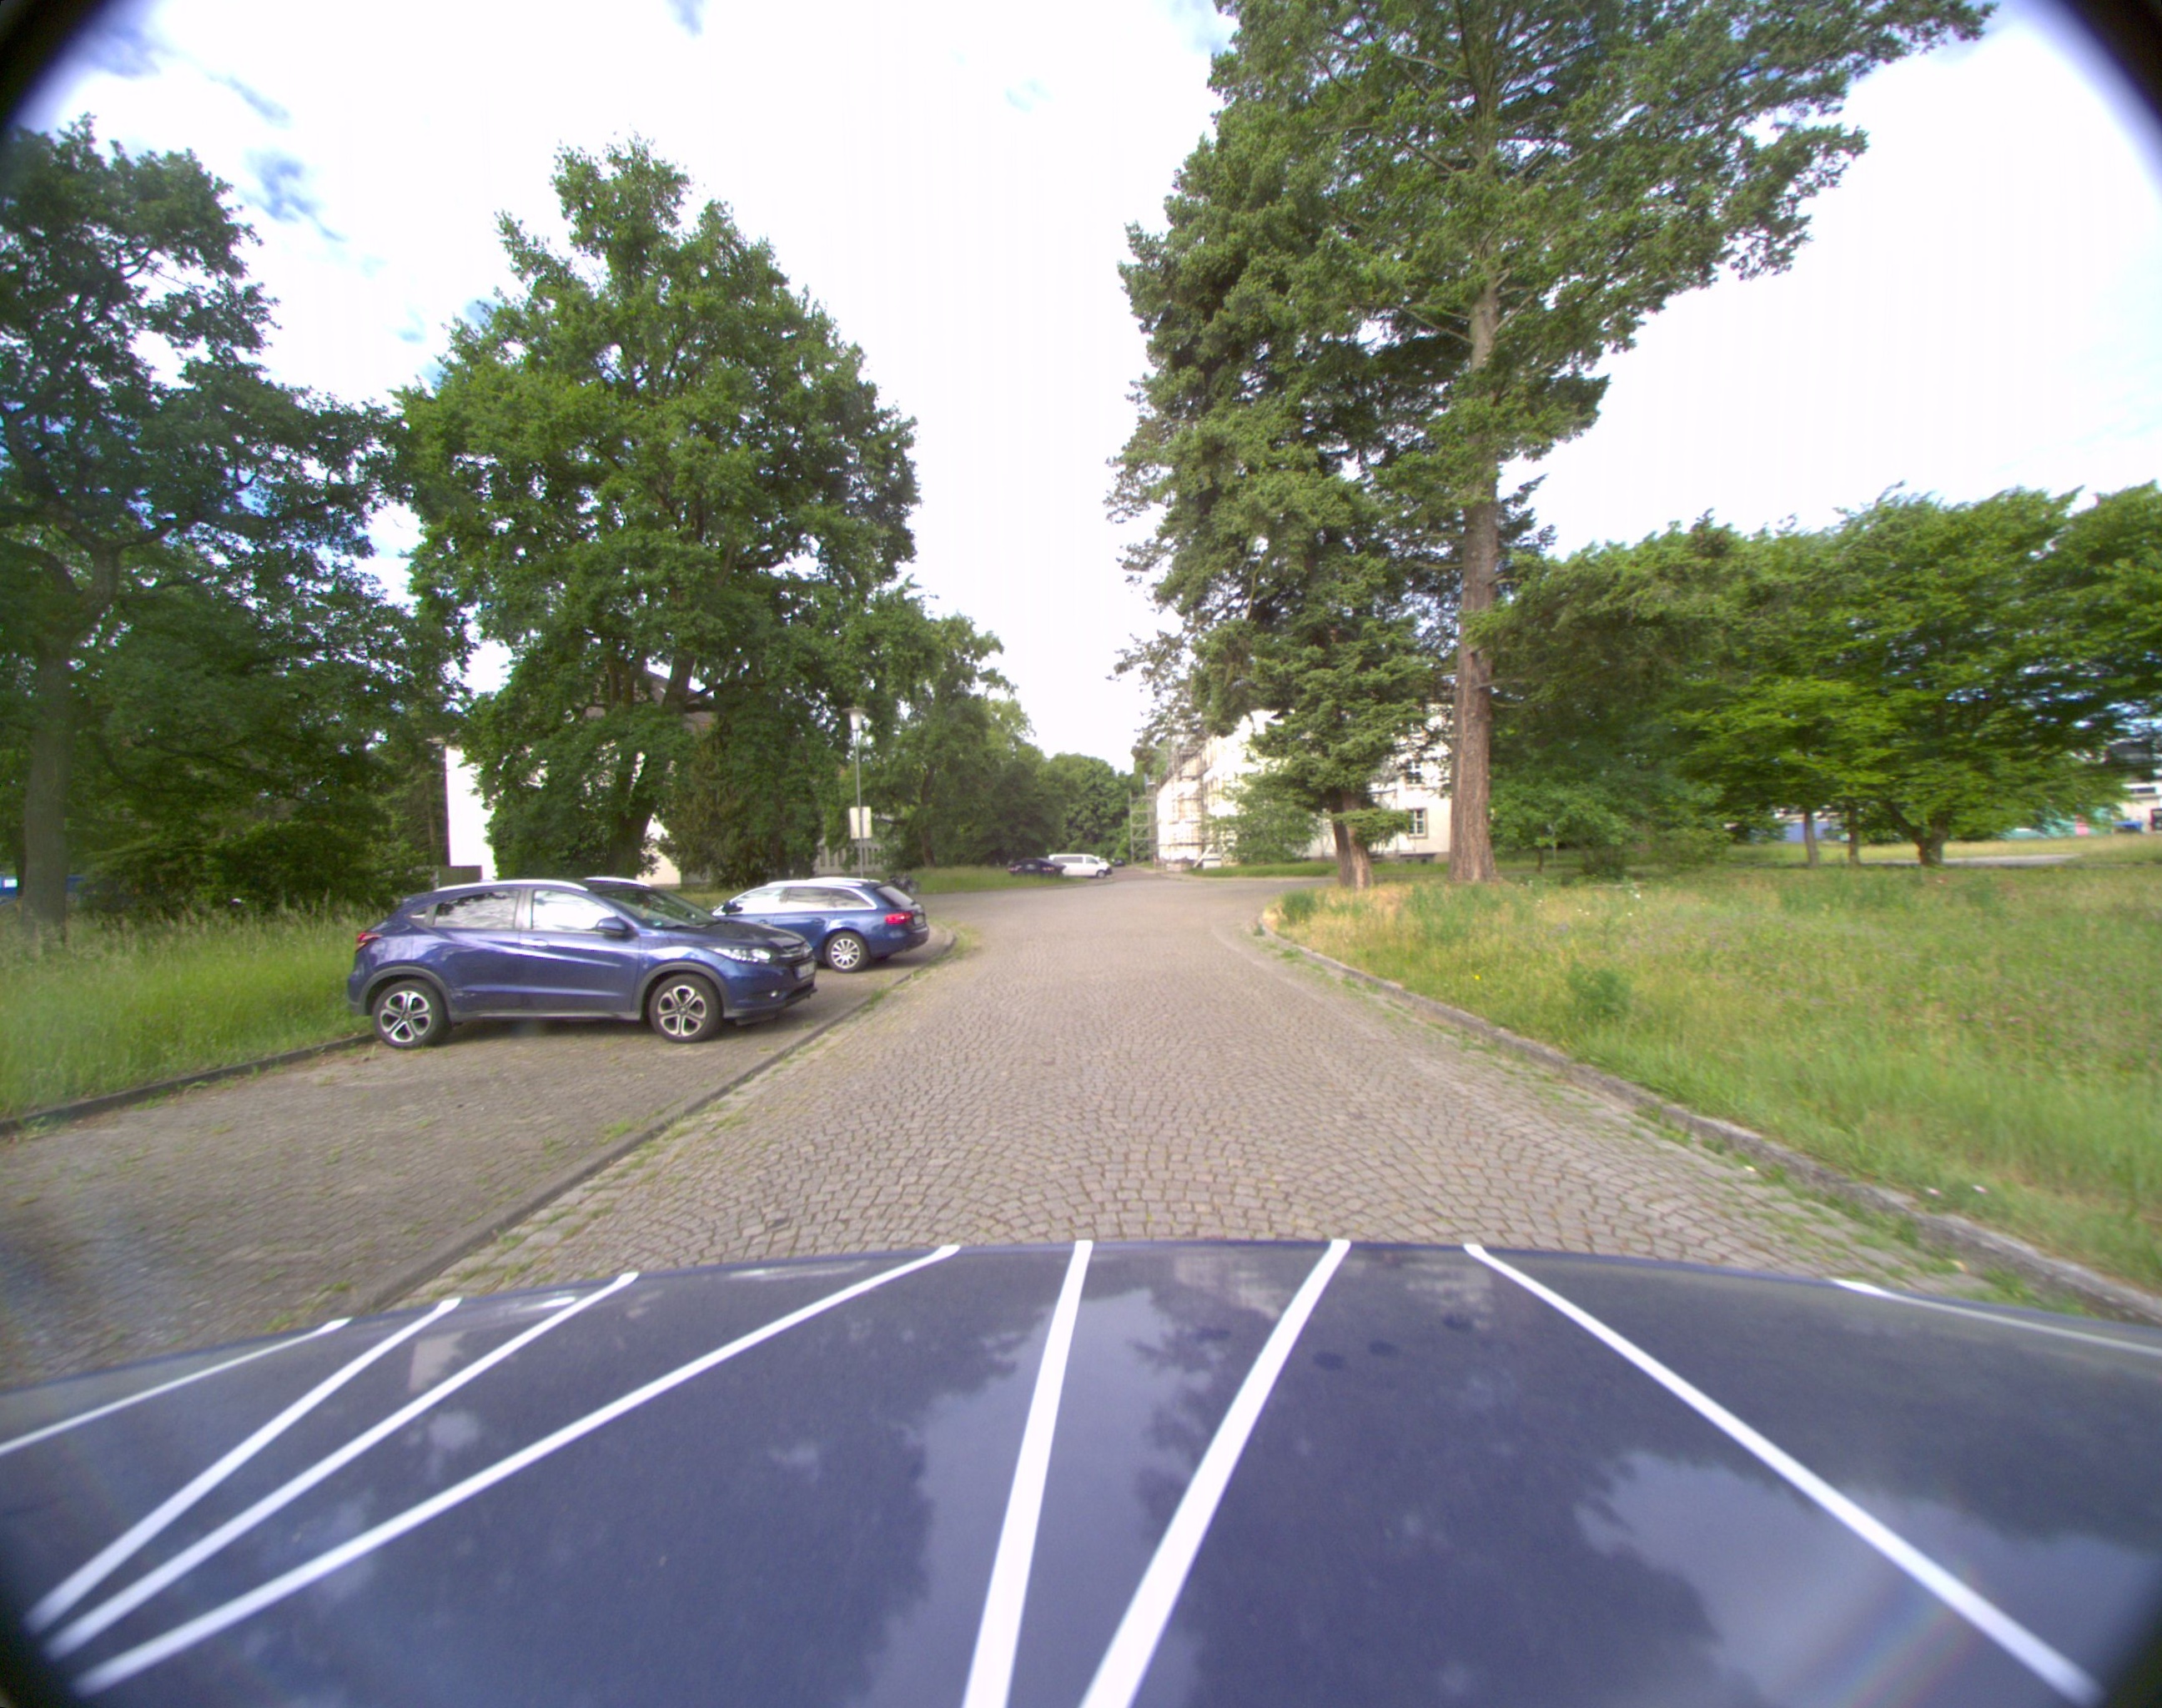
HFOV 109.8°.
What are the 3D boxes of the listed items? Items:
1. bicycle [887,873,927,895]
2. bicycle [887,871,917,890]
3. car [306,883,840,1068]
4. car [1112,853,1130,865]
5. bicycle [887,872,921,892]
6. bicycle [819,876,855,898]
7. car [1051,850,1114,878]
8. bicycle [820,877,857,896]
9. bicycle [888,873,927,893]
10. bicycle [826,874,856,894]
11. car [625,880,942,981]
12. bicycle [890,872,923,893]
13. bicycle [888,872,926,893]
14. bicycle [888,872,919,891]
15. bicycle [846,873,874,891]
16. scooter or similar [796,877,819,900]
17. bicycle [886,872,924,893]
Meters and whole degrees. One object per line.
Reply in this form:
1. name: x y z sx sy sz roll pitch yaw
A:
1. bicycle: -9.433 1.633 41.217 2.019 1.082 0.478 -2 3 -21
2. bicycle: -11.198 1.675 47.514 1.753 1.082 0.552 -2 3 -21
3. car: -4.978 1.159 7.933 4.273 1.564 1.895 -1 0 1
4. car: 6.673 0.807 127.584 2.028 1.915 3.997 -2 0 -10
5. bicycle: -10.474 1.656 44.932 1.868 1.082 0.519 -2 3 -21
6. bicycle: -13.358 1.804 41.564 1.815 1.082 0.478 -2 3 -26
7. car: 0.125 0.805 61.336 4.915 1.983 2.000 -2 0 -1
8. bicycle: -13.448 1.798 42.140 1.859 0.984 0.455 -2 1 -26
9. bicycle: -9.534 1.579 41.696 2.019 1.004 0.478 -2 3 -21
10. bicycle: -13.850 1.740 43.823 1.568 1.082 0.561 -2 1 -29
11. car: -4.790 1.219 12.644 4.514 1.456 1.896 -1 0 5
12. bicycle: -10.149 1.647 44.205 1.791 1.082 0.478 -2 3 -21
13. bicycle: -9.941 1.602 43.413 2.019 1.082 0.478 -2 3 -21
14. bicycle: -10.927 1.666 46.782 1.810 1.082 0.552 -2 3 -21
15. bicycle: -13.464 1.705 46.208 1.568 1.028 0.476 -2 1 -23
16. scooter or similar: -14.704 1.855 40.806 1.063 1.187 0.385 -2 0 4
17. bicycle: -9.886 1.617 42.774 2.019 1.082 0.478 -2 3 -21
